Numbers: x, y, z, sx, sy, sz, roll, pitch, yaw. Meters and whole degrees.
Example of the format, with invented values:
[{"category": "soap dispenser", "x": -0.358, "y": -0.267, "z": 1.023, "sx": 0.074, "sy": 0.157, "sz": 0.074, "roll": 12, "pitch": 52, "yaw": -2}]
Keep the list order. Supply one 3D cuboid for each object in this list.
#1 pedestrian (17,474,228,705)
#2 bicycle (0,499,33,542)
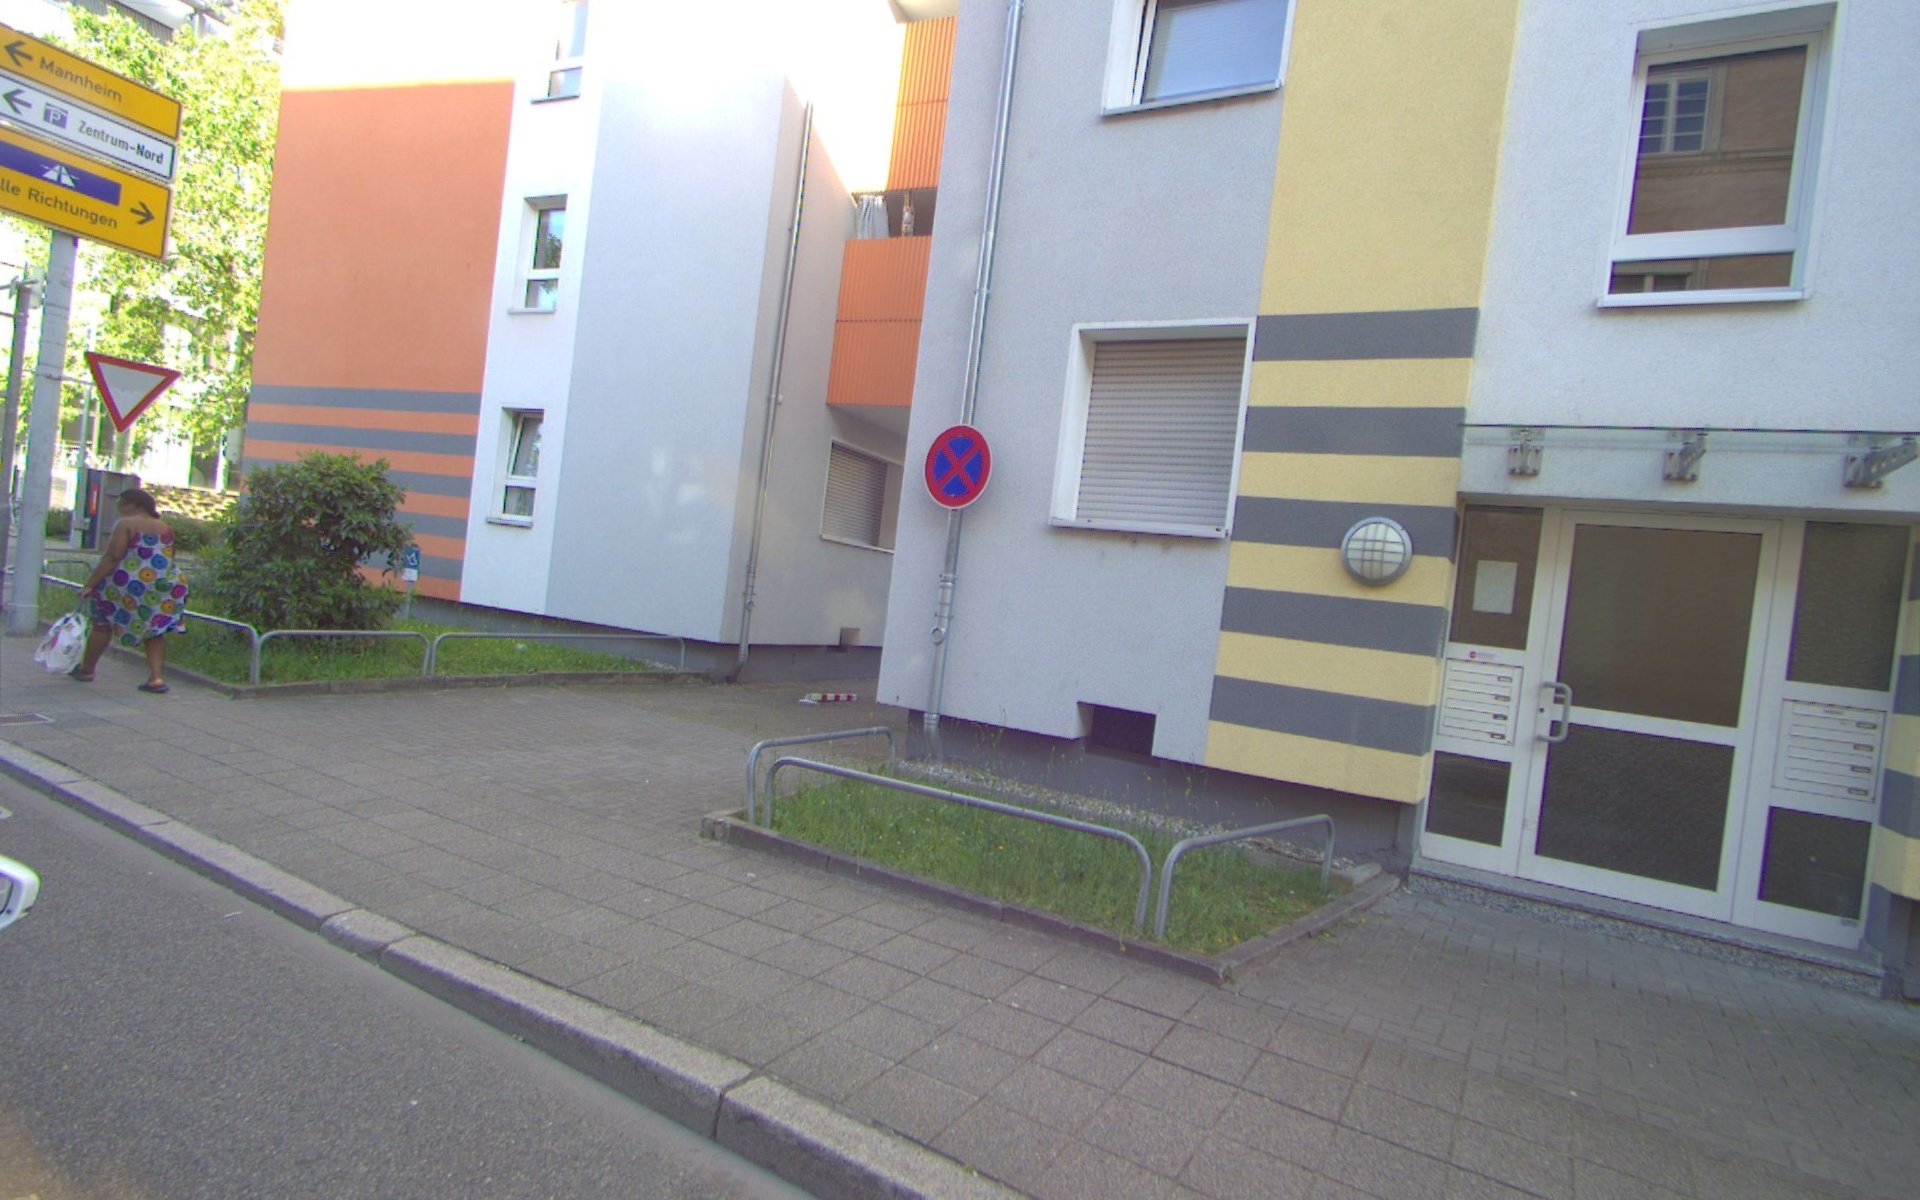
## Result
[{"category": "pedestrian", "x": -6.342, "y": -0.087, "z": 7.654, "sx": 0.736, "sy": 1.595, "sz": 0.956, "roll": 6, "pitch": 4, "yaw": 19}, {"category": "bicycle", "x": -26.430, "y": -2.245, "z": 27.286, "sx": 1.883, "sy": 1.062, "sz": 0.463, "roll": 7, "pitch": 1, "yaw": -10}]
